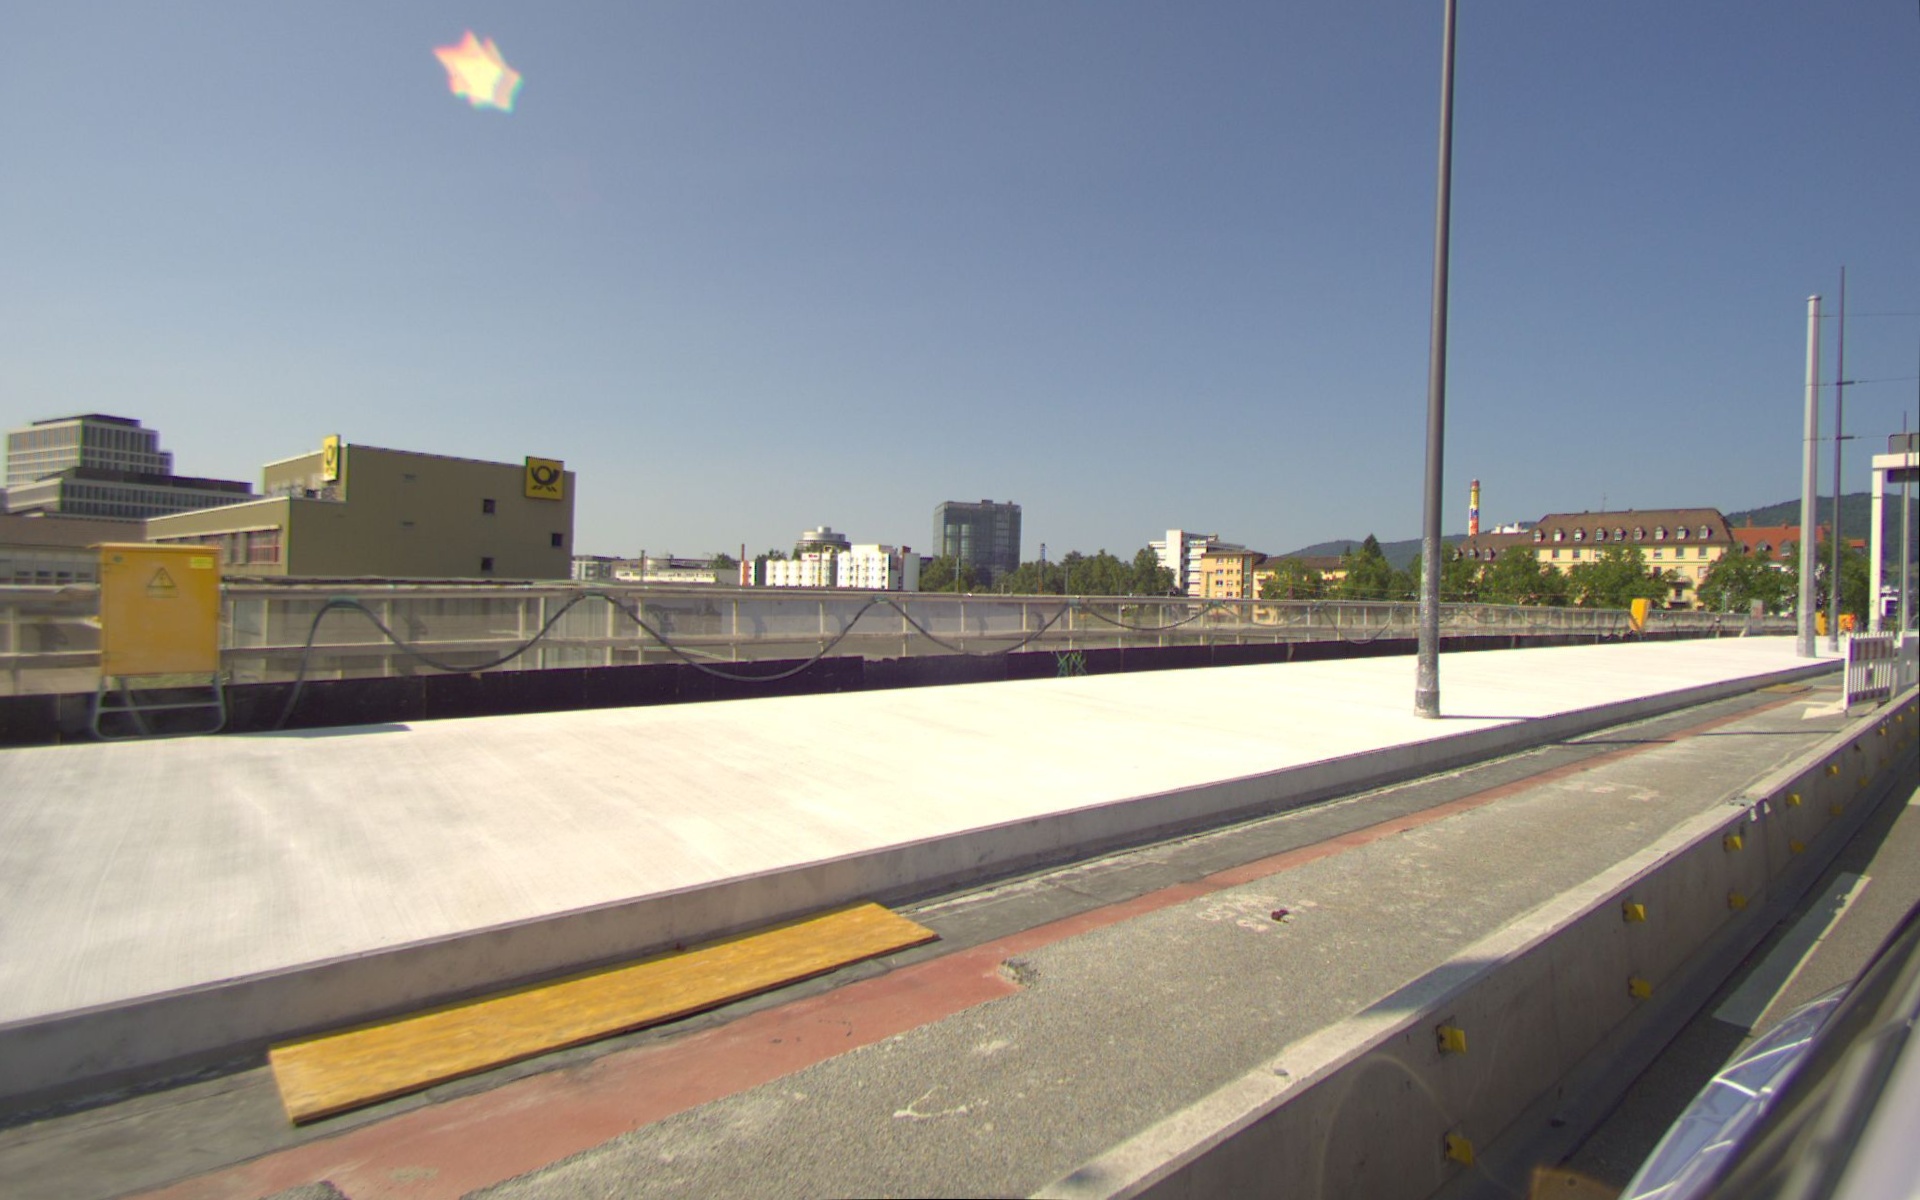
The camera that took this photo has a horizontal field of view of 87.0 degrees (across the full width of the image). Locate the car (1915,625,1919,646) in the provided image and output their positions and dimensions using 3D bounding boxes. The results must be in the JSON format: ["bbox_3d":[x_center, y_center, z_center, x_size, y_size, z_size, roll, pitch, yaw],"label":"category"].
[{"bbox_3d":[103.986,3.907,108.516,6.360,2.117,1.935,4,-2,-43],"label":"car"}]

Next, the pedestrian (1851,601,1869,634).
[{"bbox_3d":[57.177,1.112,64.266,0.999,1.989,0.732,2,0,-45],"label":"pedestrian"}]
